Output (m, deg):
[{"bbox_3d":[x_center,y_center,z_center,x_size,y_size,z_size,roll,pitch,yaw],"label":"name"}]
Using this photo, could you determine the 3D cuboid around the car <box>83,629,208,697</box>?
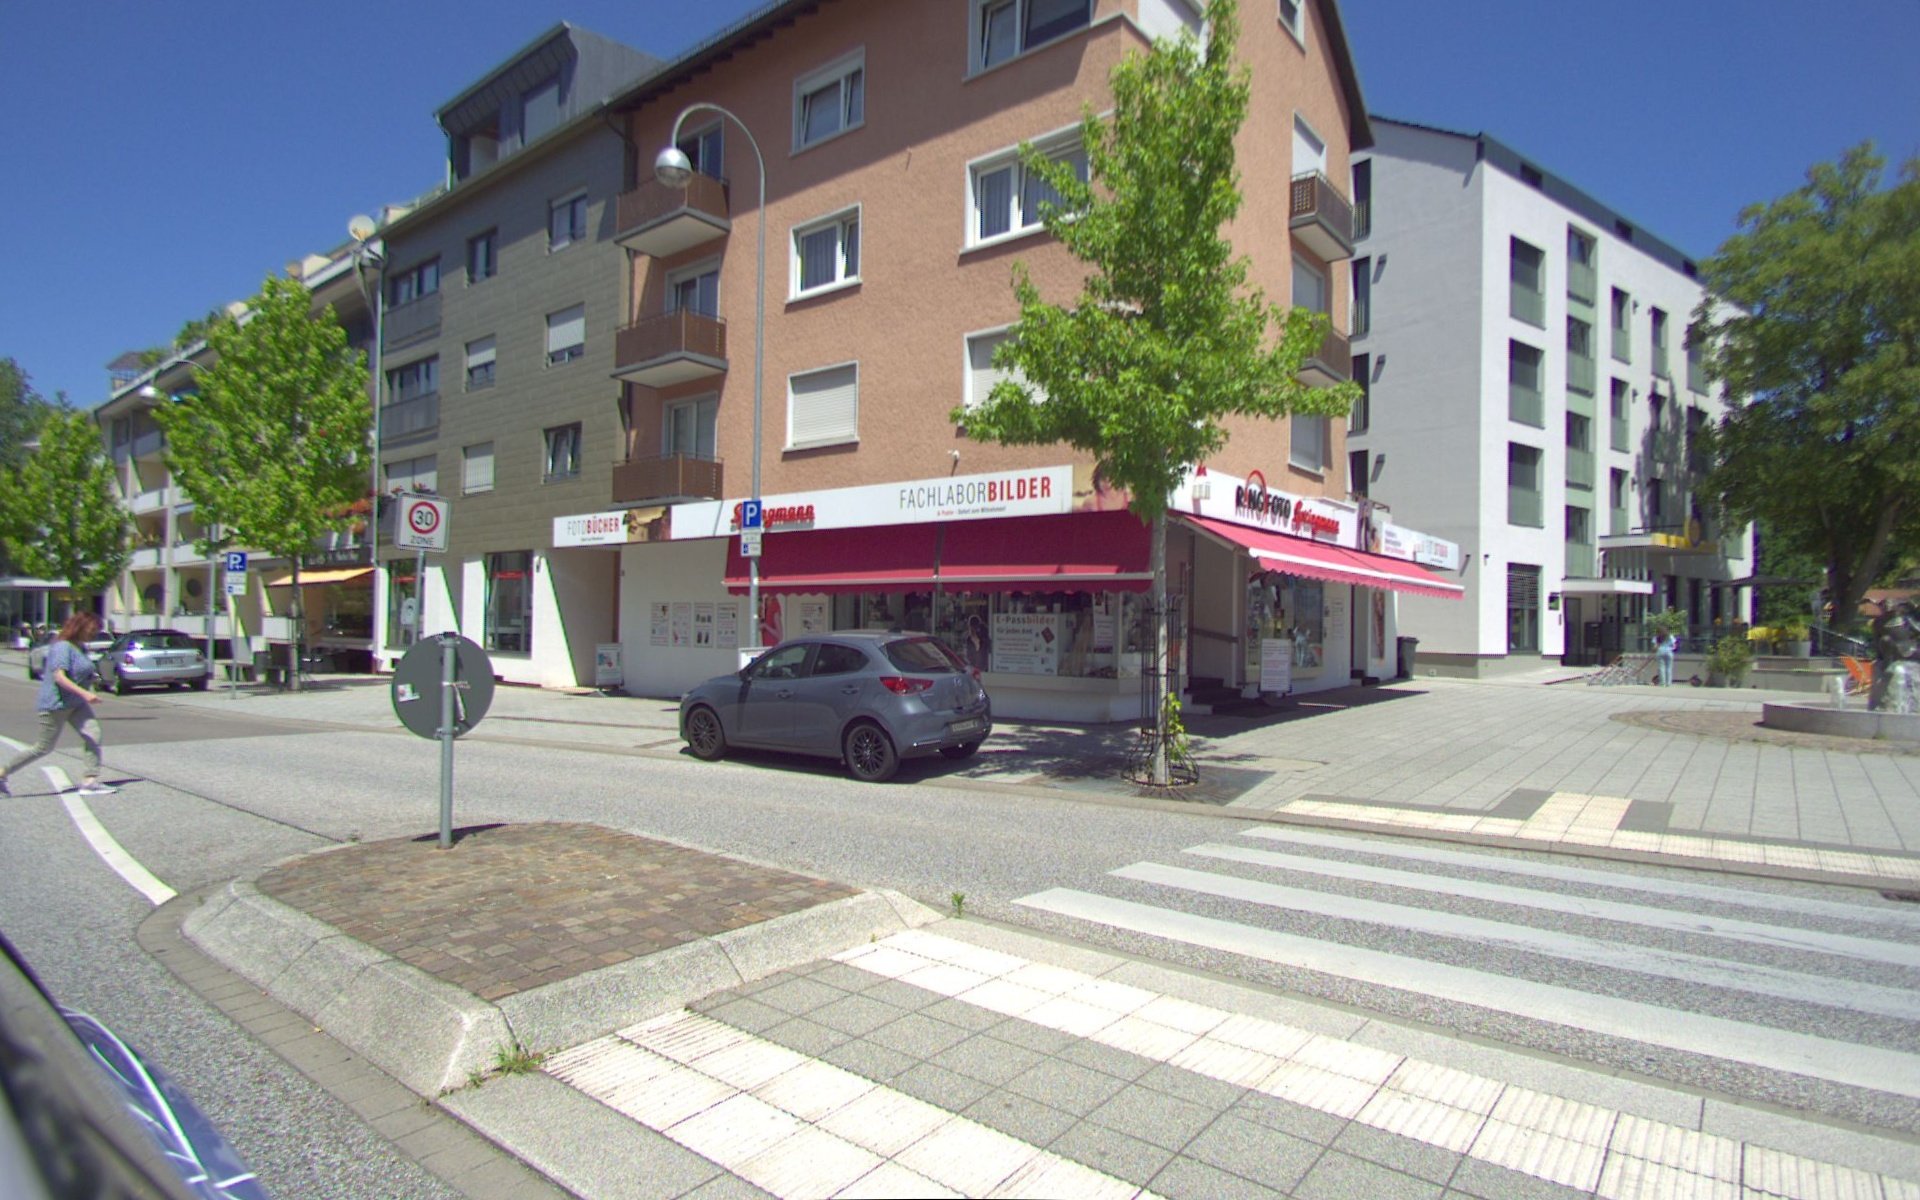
[{"bbox_3d":[-19.106,1.421,23.698,3.545,1.485,1.605,-1,-3,40],"label":"car"}]

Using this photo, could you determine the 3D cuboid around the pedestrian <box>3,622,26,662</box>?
[{"bbox_3d":[-43.395,1.921,46.457,0.657,1.818,0.687,2,-3,-36],"label":"pedestrian"}]

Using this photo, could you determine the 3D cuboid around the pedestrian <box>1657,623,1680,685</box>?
[{"bbox_3d":[18.719,1.425,26.727,0.449,1.631,0.445,-1,-3,37],"label":"pedestrian"}]

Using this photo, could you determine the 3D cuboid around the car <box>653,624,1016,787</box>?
[{"bbox_3d":[-1.521,1.055,11.505,4.052,1.497,1.652,-1,0,36],"label":"car"}]

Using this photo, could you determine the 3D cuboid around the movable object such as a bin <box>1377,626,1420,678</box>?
[{"bbox_3d":[10.854,1.274,25.043,0.747,1.262,0.826,-2,-3,41],"label":"movable object such as a bin"}]

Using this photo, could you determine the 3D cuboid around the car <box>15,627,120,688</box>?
[{"bbox_3d":[-27.176,1.709,30.778,4.296,1.604,1.678,-2,2,40],"label":"car"}]

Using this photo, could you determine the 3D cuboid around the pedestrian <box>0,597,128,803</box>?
[{"bbox_3d":[-7.467,0.806,8.437,0.559,1.622,0.724,-2,-3,45],"label":"pedestrian"}]

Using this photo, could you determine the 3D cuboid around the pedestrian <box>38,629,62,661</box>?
[{"bbox_3d":[-42.947,2.107,47.784,0.767,1.510,0.698,2,-3,-39],"label":"pedestrian"}]
